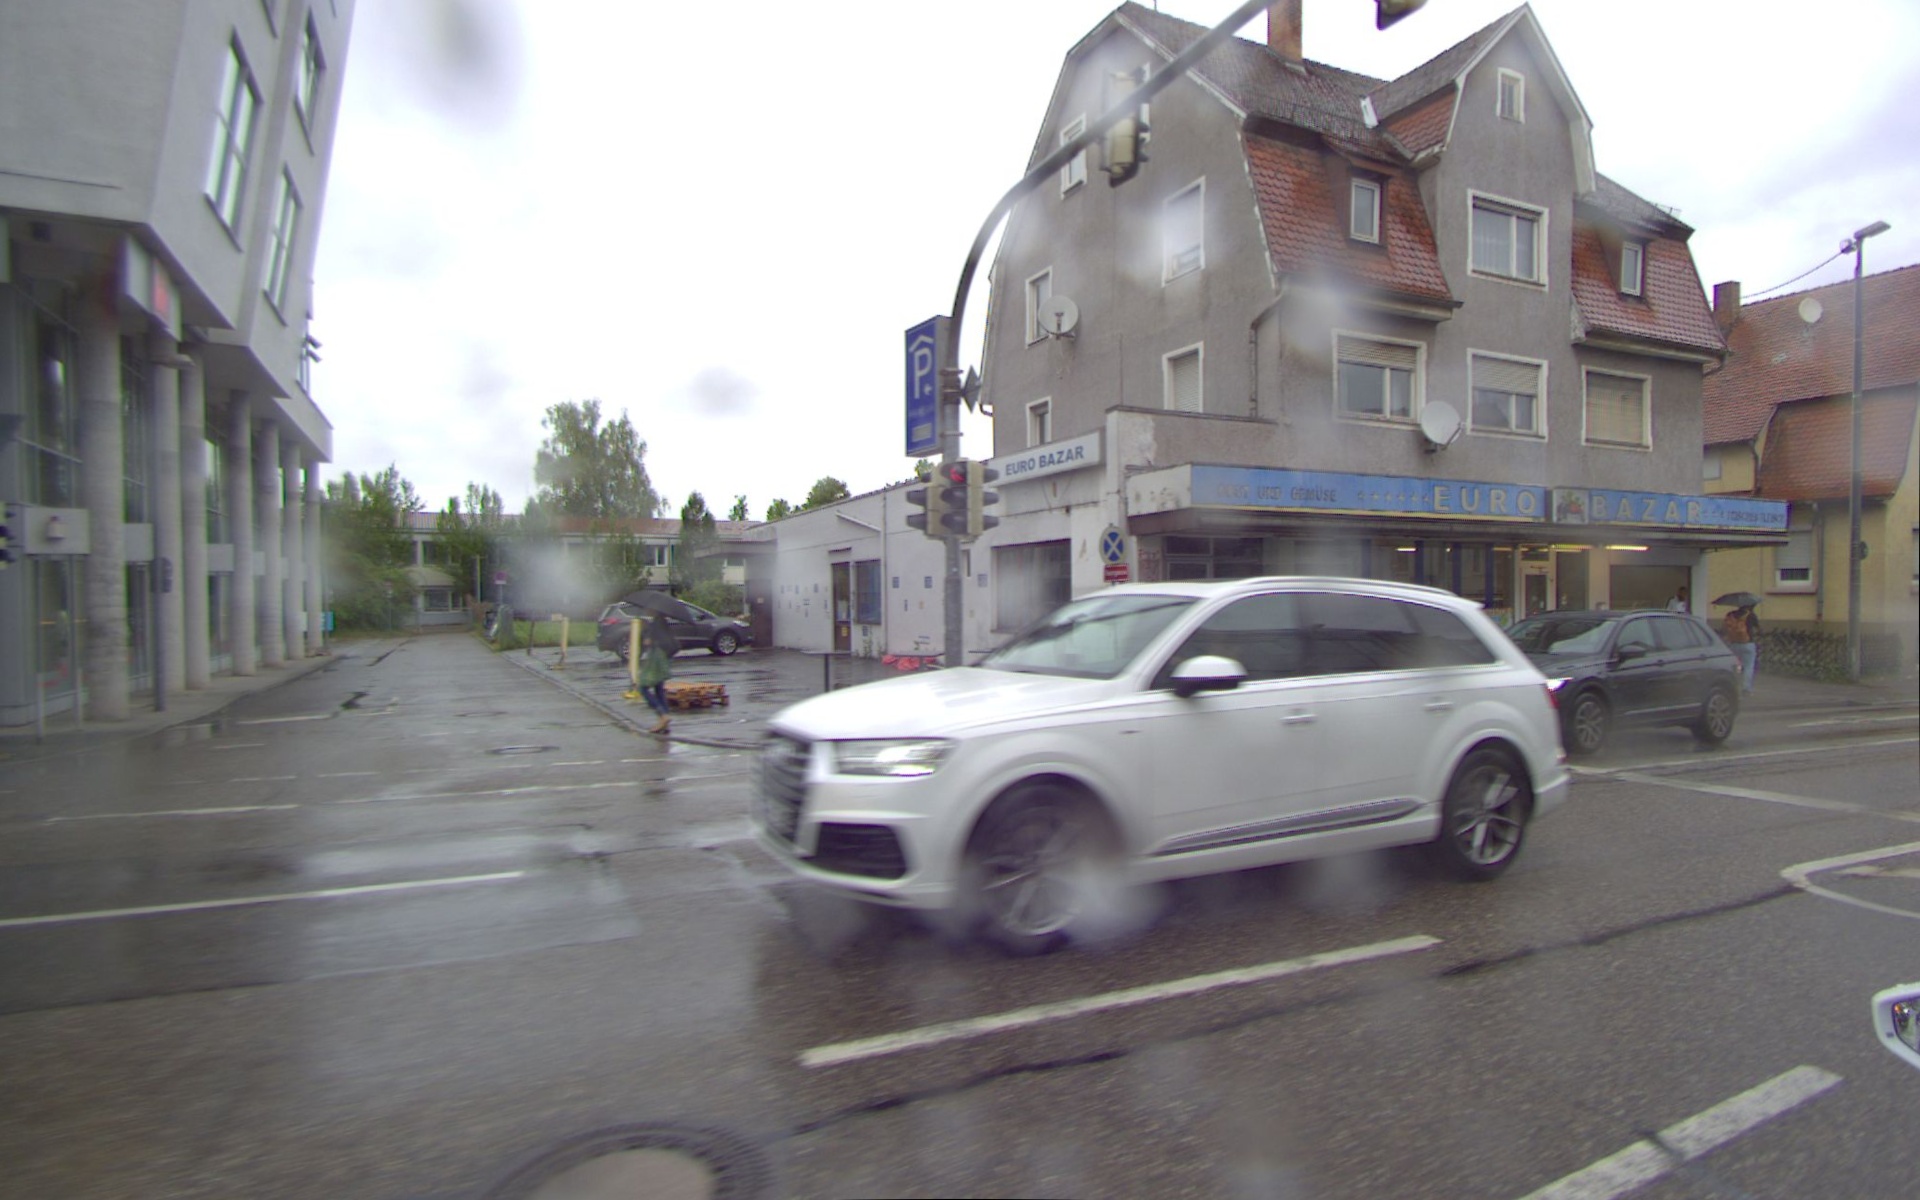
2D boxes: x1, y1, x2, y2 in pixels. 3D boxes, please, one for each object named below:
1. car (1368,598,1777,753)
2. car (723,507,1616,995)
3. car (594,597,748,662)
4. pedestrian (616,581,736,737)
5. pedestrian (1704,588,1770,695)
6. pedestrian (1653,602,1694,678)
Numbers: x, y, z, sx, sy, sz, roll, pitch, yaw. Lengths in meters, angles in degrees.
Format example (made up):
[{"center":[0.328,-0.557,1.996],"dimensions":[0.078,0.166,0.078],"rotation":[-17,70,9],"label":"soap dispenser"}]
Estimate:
[{"center":[7.696,0.888,12.577],"dimensions":[4.880,1.639,1.996],"rotation":[2,-1,-25],"label":"car"},{"center":[1.322,0.620,5.698],"dimensions":[4.792,1.735,2.089],"rotation":[2,-1,-30],"label":"car"},{"center":[-8.393,0.869,29.204],"dimensions":[4.105,1.778,1.747],"rotation":[2,-1,-24],"label":"car"},{"center":[-3.515,0.713,12.414],"dimensions":[1.219,1.812,0.921],"rotation":[2,-1,-29],"label":"pedestrian"},{"center":[14.638,0.766,18.917],"dimensions":[0.937,1.947,0.656],"rotation":[2,2,-35],"label":"pedestrian"},{"center":[14.973,0.830,21.084],"dimensions":[0.440,1.578,0.541],"rotation":[1,-1,-27],"label":"pedestrian"}]
